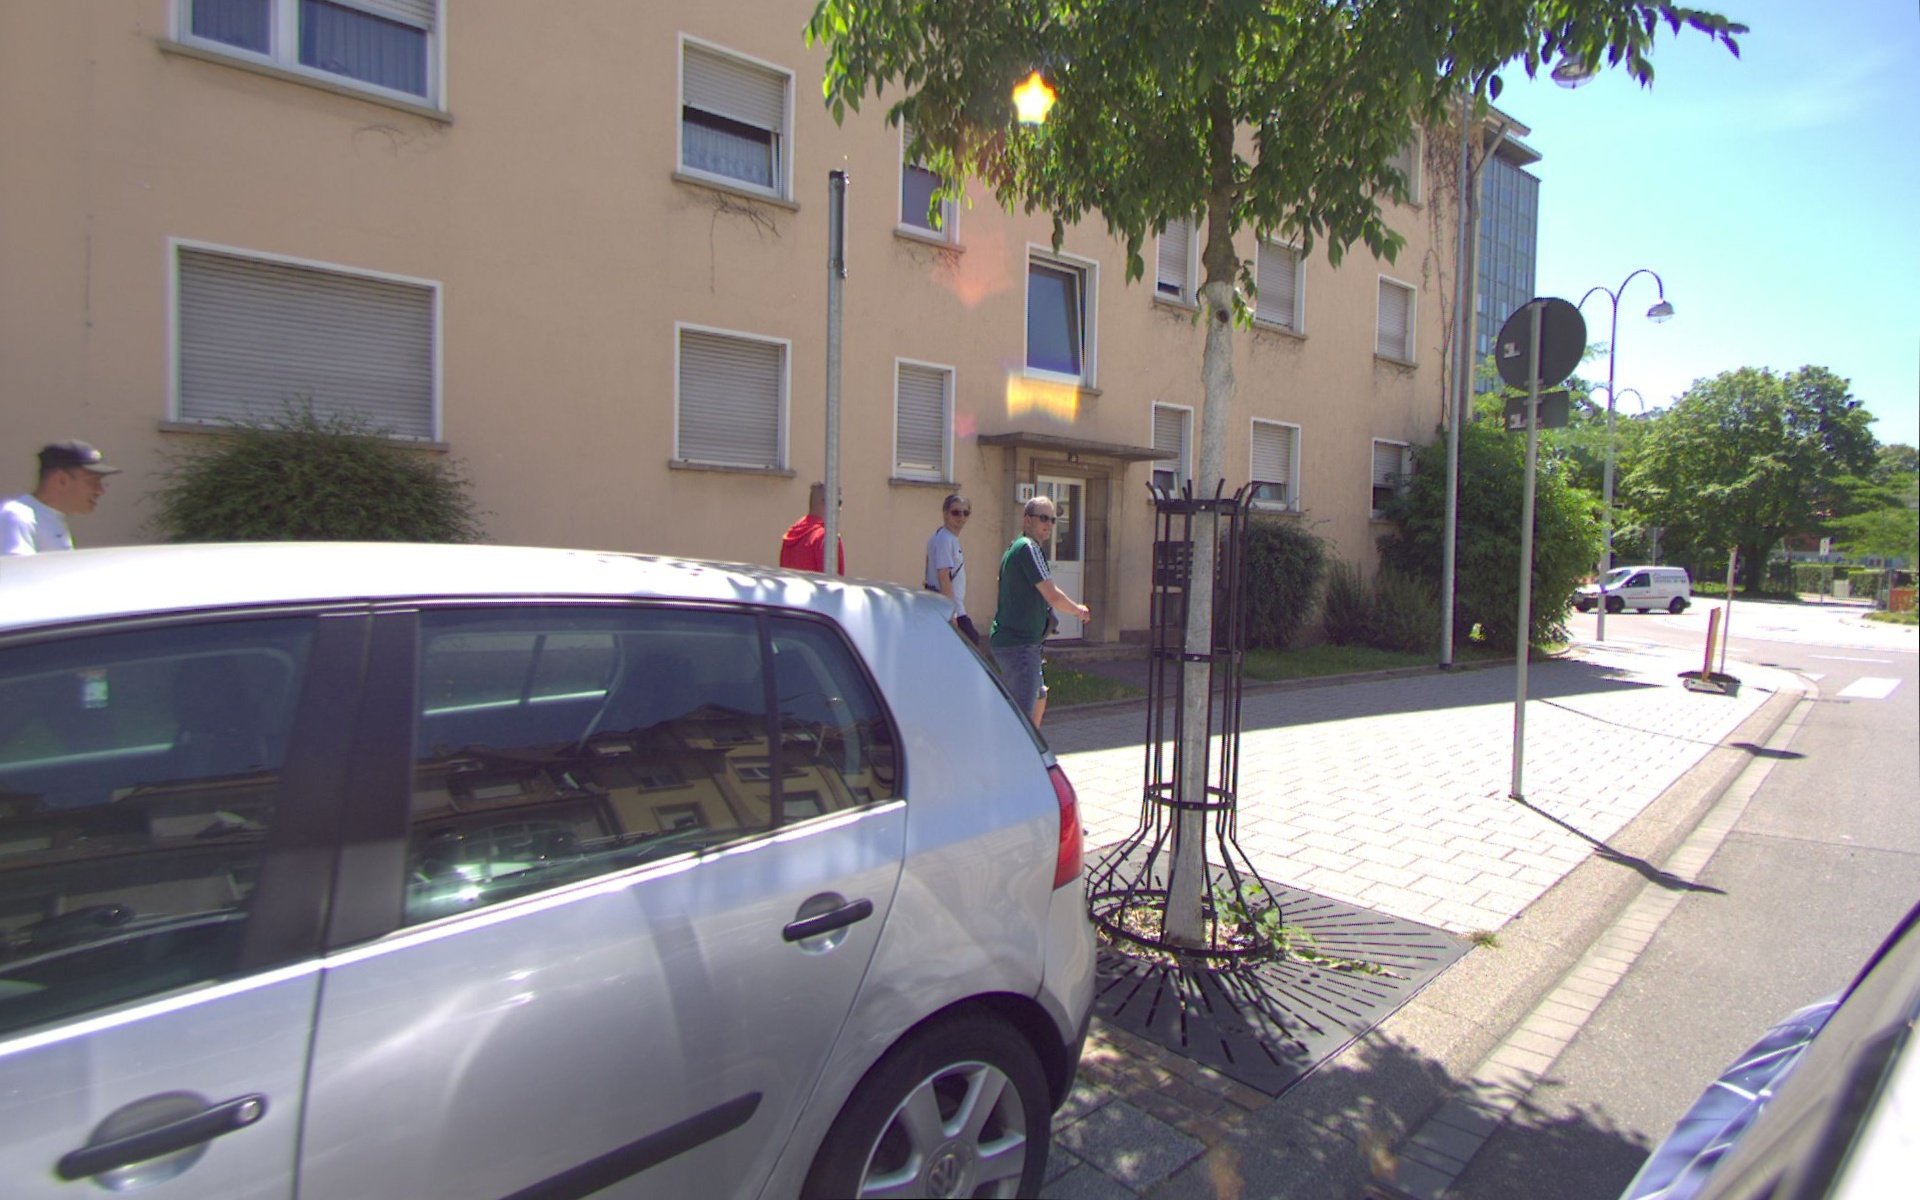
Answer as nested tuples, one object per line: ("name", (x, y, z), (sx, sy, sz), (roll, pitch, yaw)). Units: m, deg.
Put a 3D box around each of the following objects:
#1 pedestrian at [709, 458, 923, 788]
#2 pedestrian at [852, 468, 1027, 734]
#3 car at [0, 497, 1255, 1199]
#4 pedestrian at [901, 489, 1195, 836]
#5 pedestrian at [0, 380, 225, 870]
("pedestrian", (-0.892, 0.102, 6.236), (0.988, 1.833, 0.790), (0, 4, -40))
("pedestrian", (-0.153, -0.010, 7.470), (0.991, 1.800, 0.795), (0, 2, -40))
("car", (-1.563, 0.598, 1.685), (4.429, 1.494, 1.817), (-2, 4, -41))
("pedestrian", (0.498, 0.262, 5.912), (1.171, 1.753, 1.174), (-1, 5, -41))
("pedestrian", (-3.776, 0.081, 4.324), (0.967, 1.876, 0.822), (-1, 2, -40))
